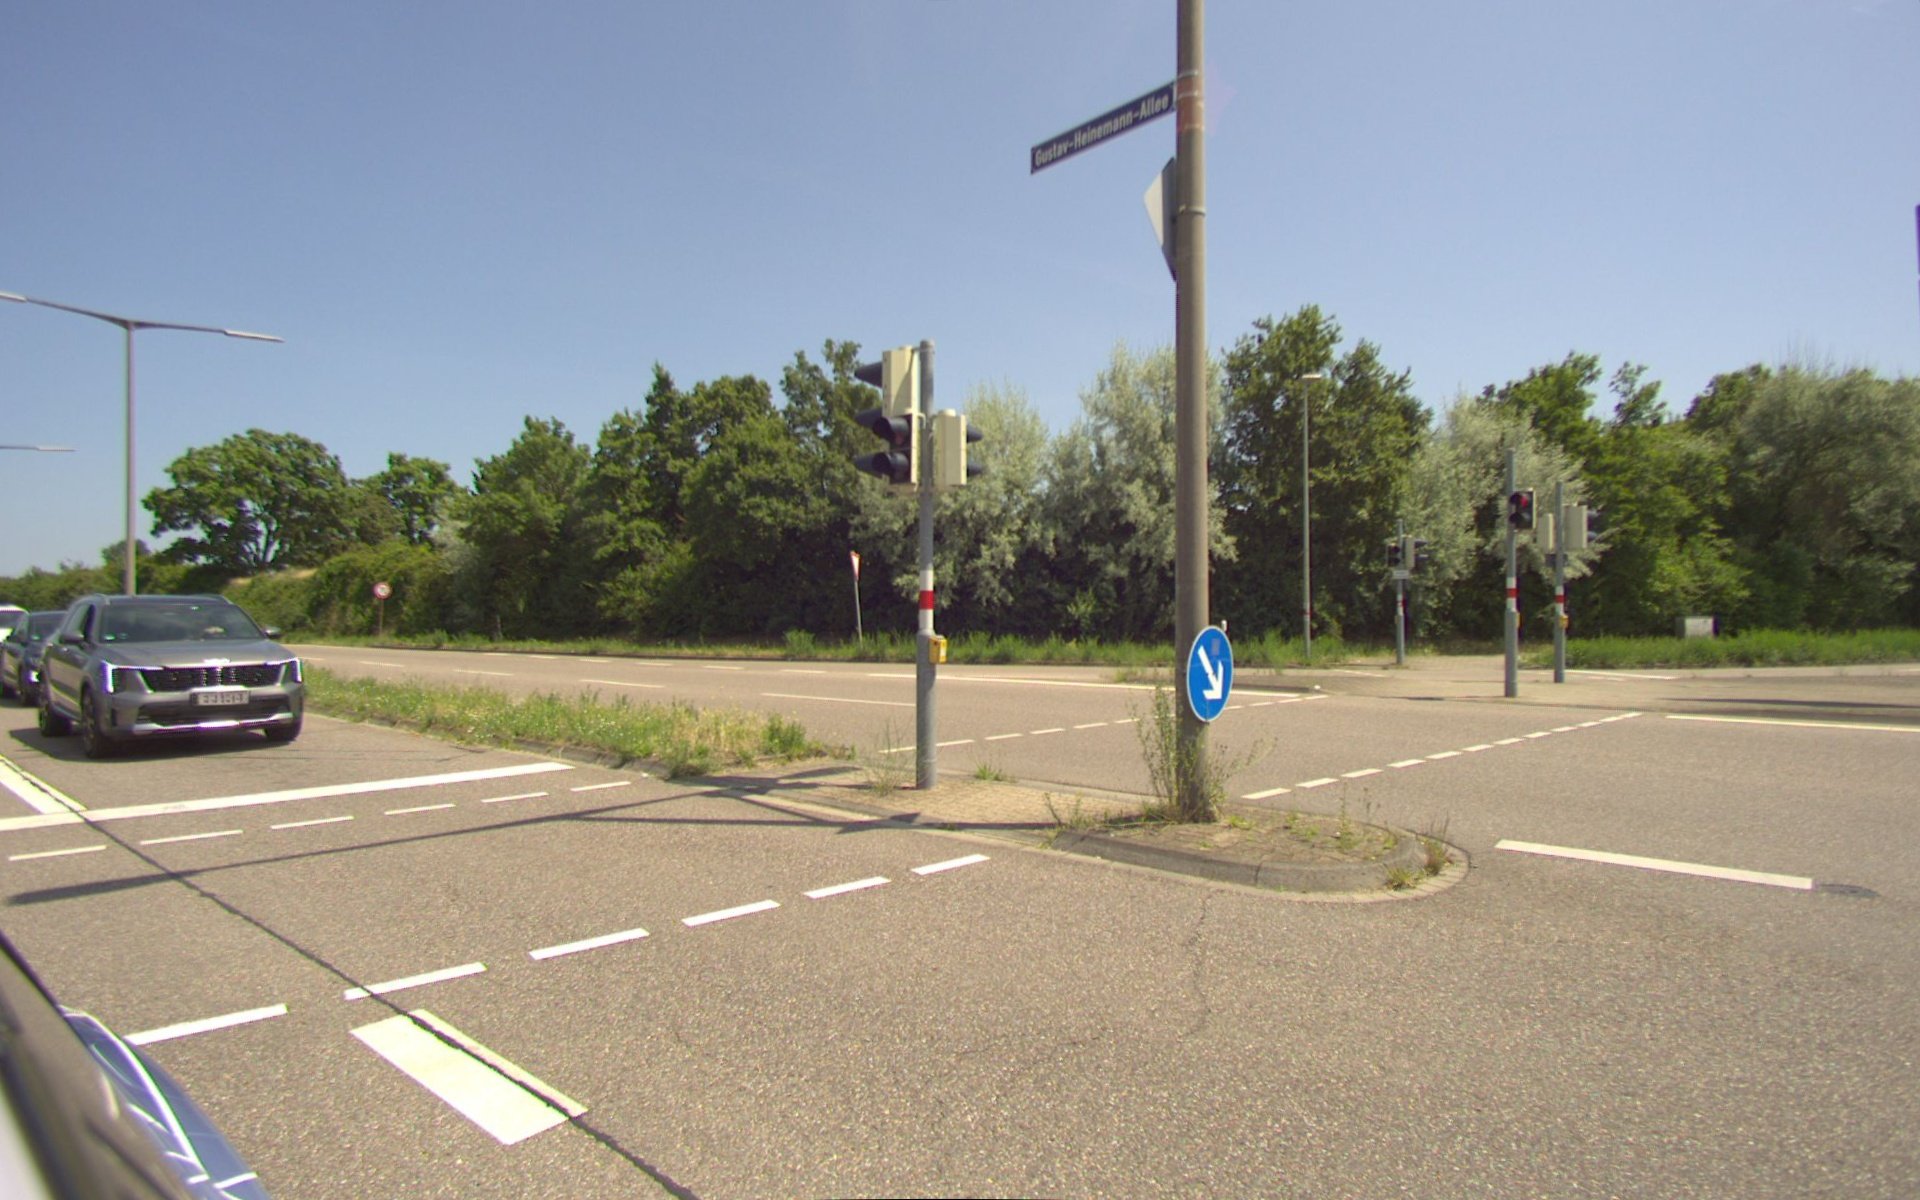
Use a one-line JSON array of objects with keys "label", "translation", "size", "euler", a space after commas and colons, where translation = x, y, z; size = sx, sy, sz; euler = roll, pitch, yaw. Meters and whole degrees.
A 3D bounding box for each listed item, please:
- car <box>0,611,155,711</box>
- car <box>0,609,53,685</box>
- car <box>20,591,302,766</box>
[{"label": "car", "translation": [-15.590, 0.984, 17.634], "size": [3.998, 1.511, 1.730], "euler": [-1, 0, 41]}, {"label": "car", "translation": [-22.930, 1.065, 23.761], "size": [3.999, 1.684, 1.897], "euler": [0, -1, 40]}, {"label": "car", "translation": [-9.481, 0.791, 11.867], "size": [4.528, 1.681, 1.762], "euler": [-1, -1, 41]}]
